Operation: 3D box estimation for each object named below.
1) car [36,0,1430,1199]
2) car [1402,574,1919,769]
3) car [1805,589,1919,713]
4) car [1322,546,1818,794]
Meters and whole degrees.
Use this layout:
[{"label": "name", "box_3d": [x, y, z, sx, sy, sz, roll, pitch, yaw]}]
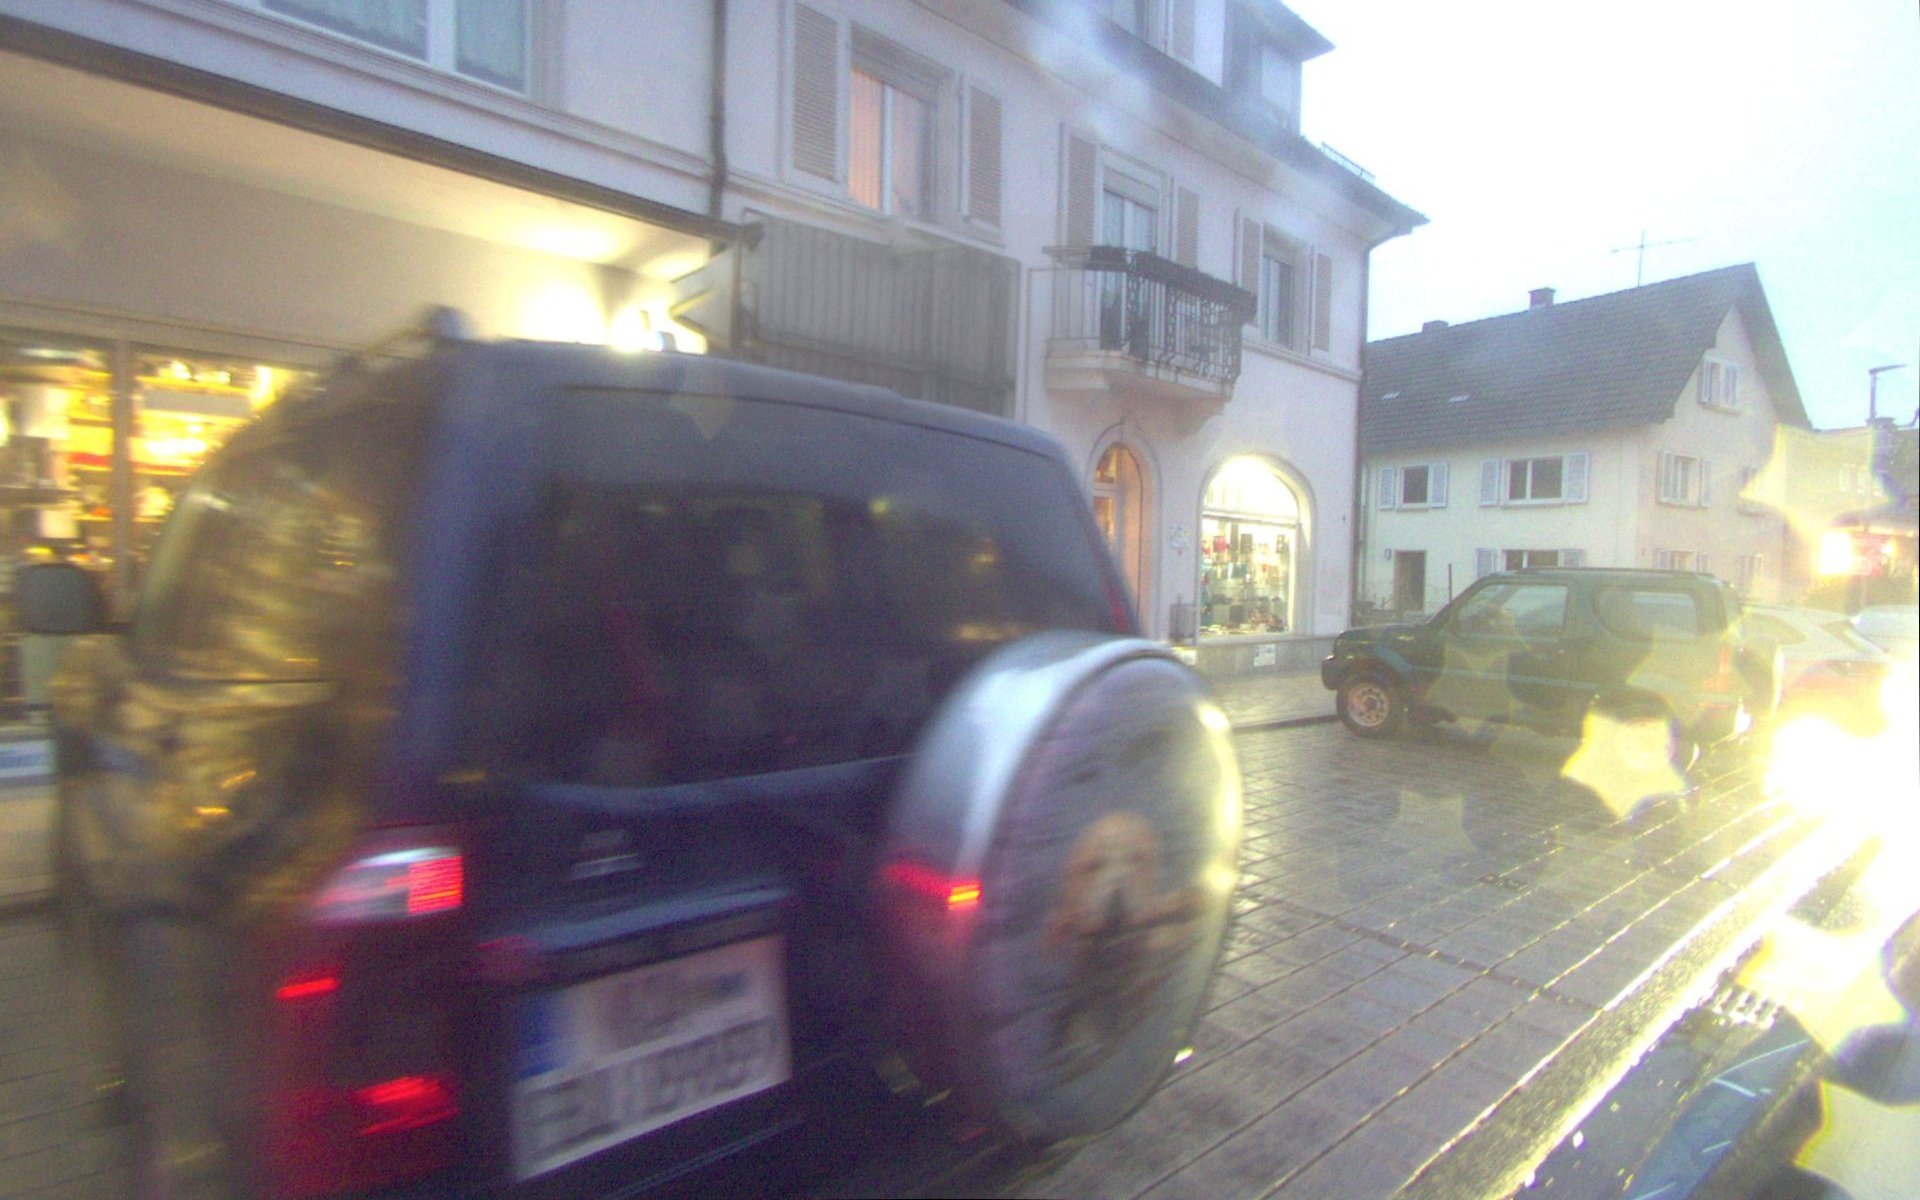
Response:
[{"label": "car", "box_3d": [-1.362, 0.377, 3.031, 1.913, 1.797, 4.608, 1, 2, -44]}, {"label": "car", "box_3d": [7.503, 0.587, 11.072, 1.865, 1.491, 4.476, 1, 3, -41]}, {"label": "car", "box_3d": [14.205, 0.711, 14.797, 4.585, 1.566, 1.888, 1, 3, -38]}, {"label": "car", "box_3d": [5.415, 0.451, 9.250, 1.688, 1.701, 3.507, 1, 4, -45]}]
